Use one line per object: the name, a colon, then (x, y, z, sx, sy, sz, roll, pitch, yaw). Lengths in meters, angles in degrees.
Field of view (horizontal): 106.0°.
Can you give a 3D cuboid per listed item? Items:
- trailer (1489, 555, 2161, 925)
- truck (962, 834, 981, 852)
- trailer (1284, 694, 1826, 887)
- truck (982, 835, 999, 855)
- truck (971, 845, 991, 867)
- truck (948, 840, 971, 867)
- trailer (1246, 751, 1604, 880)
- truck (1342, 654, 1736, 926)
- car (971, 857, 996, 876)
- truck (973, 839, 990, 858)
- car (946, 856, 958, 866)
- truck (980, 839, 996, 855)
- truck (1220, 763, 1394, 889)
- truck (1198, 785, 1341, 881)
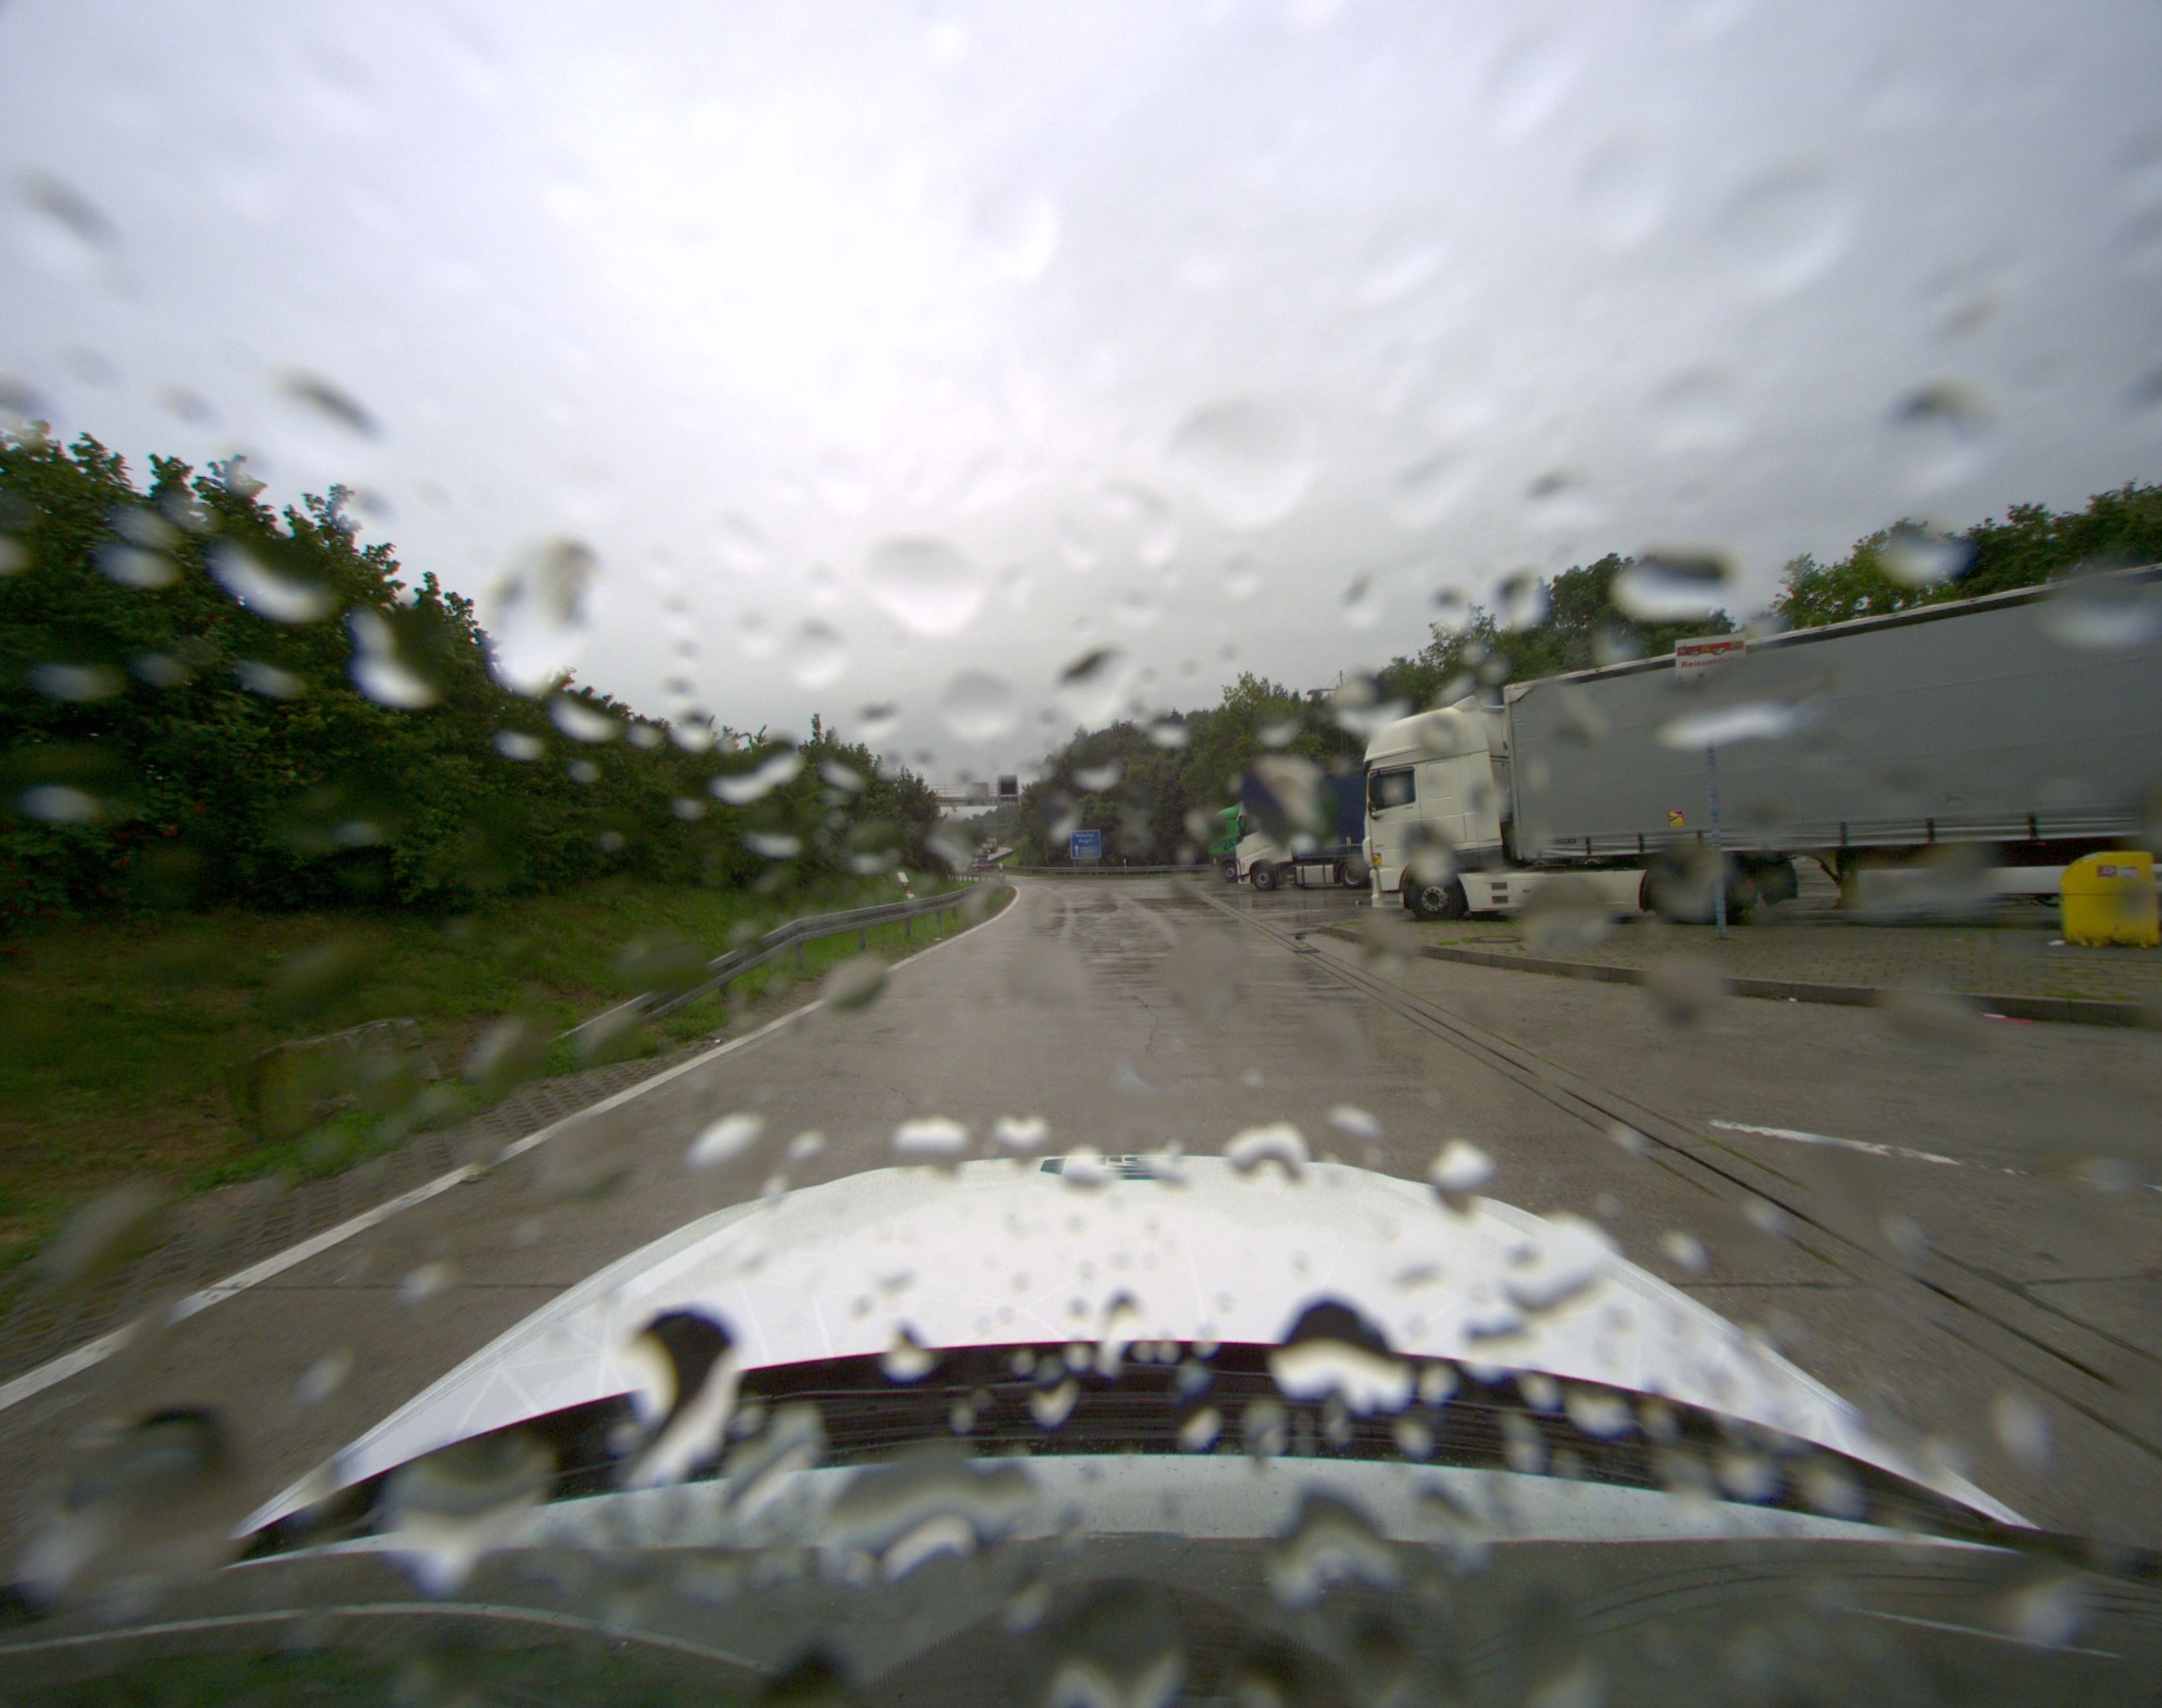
trailer: (12.640, -1.279, 9.476, 2.861, 3.919, 13.785, -4, 0, -42)
truck: (-28.028, -2.687, 209.275, 3.568, 4.095, 10.868, -3, 0, -3)
trailer: (13.000, -1.308, 24.739, 2.843, 4.171, 13.825, -3, -1, -42)
truck: (-25.906, -2.521, 233.532, 4.329, 5.764, 9.713, 0, -1, -5)
truck: (-21.249, 0.384, 173.523, 3.594, 4.104, 11.542, -4, 1, -4)
truck: (-25.756, -0.067, 173.644, 3.745, 5.499, 10.162, 0, -1, -3)
trailer: (13.749, -1.278, 34.655, 2.843, 4.149, 13.795, -3, -1, -44)
truck: (7.975, -0.868, 14.601, 2.847, 3.912, 5.345, -3, 0, -43)
car: (-9.102, 1.153, 75.674, 1.995, 1.636, 3.983, 0, -1, -12)
truck: (-23.038, -1.153, 189.664, 3.501, 4.268, 10.585, 0, -1, -5)
car: (-24.664, 1.284, 156.096, 1.794, 1.904, 3.994, -1, 0, -4)
truck: (-24.415, -1.875, 214.832, 3.749, 3.970, 11.039, 0, -1, -5)
truck: (8.225, -0.916, 30.074, 2.843, 4.145, 5.238, -3, -1, -42)
truck: (9.077, -0.916, 39.657, 2.843, 4.149, 5.924, -3, -1, -44)
